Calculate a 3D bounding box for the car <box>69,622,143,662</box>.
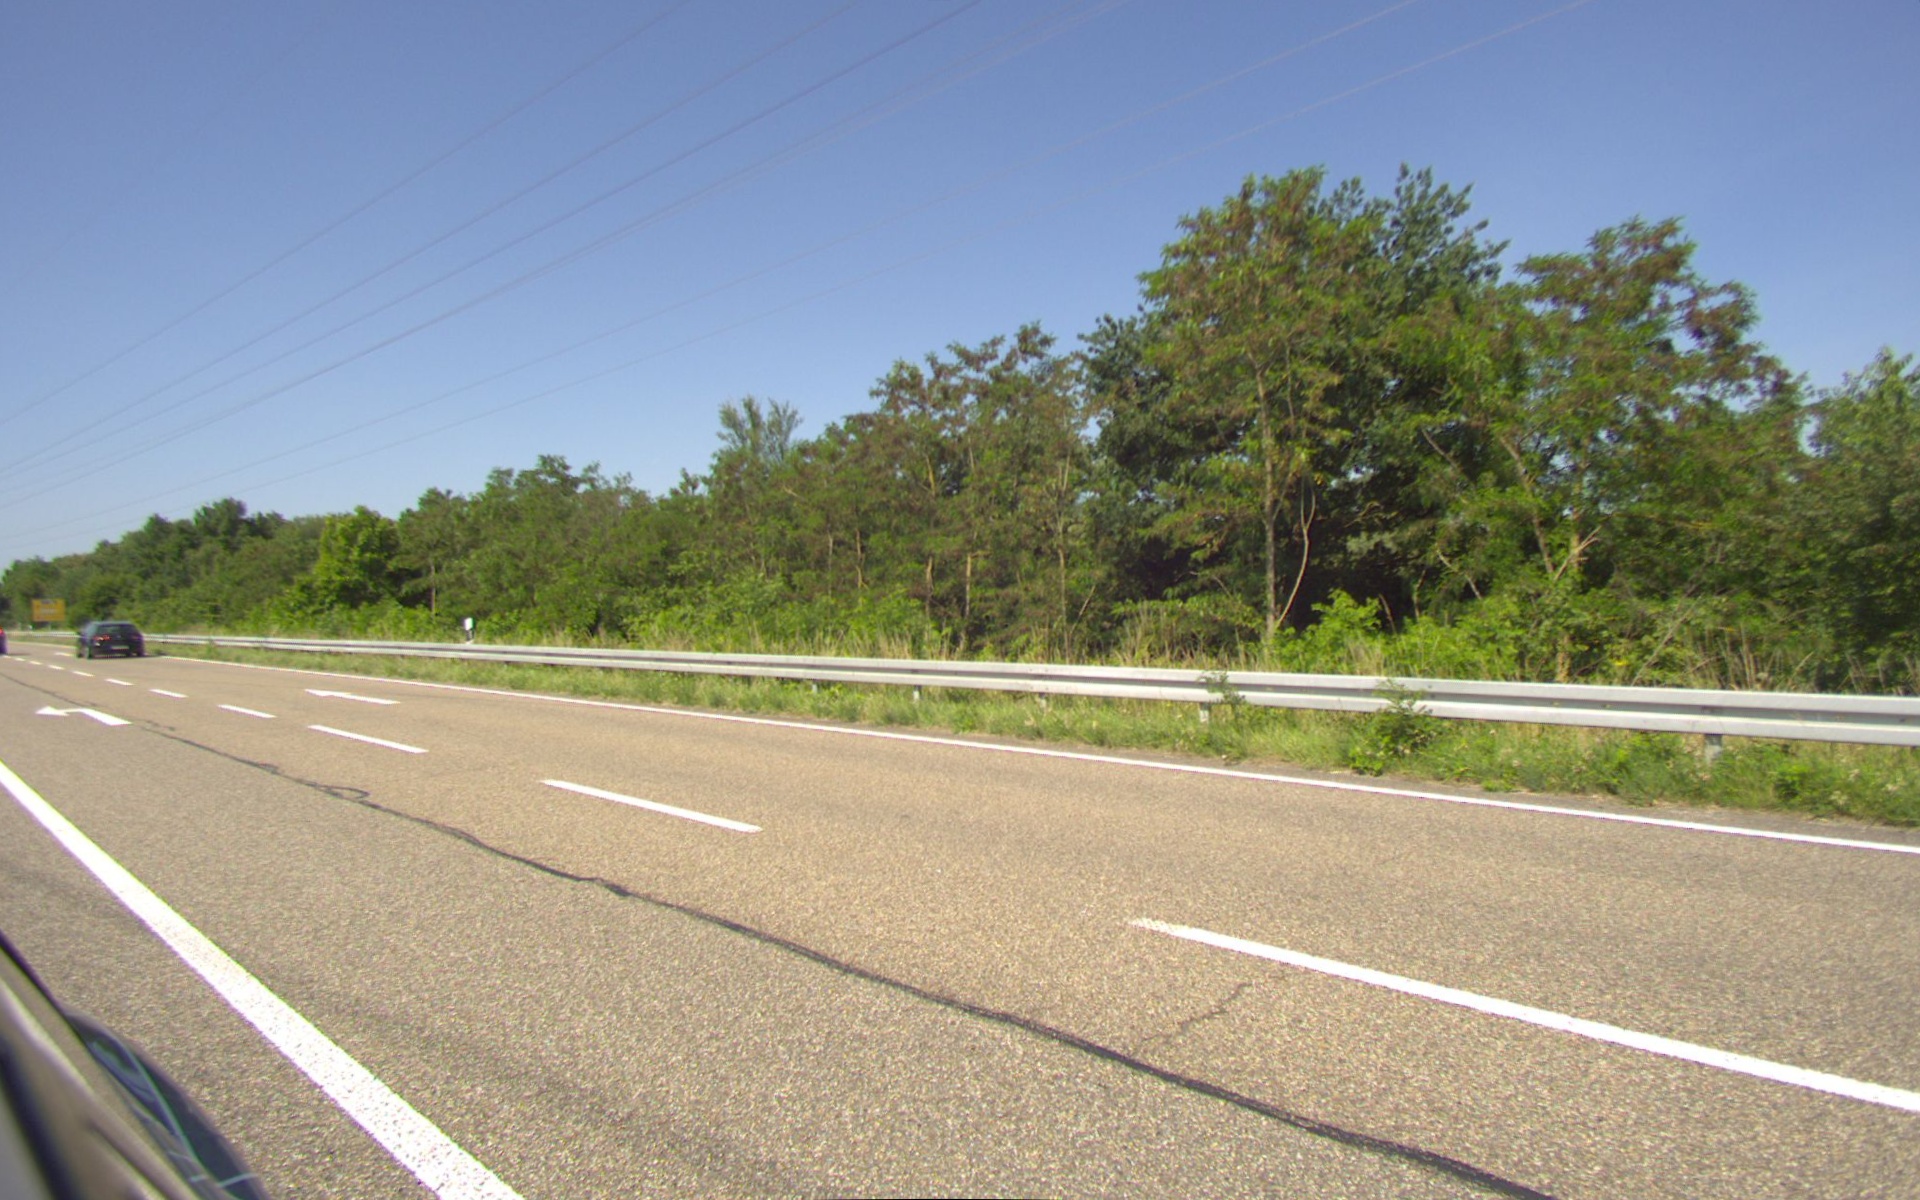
[{"bbox_3d":[-33.370,1.616,39.493,4.213,1.453,1.642,-1,0,42],"label":"car"}]
